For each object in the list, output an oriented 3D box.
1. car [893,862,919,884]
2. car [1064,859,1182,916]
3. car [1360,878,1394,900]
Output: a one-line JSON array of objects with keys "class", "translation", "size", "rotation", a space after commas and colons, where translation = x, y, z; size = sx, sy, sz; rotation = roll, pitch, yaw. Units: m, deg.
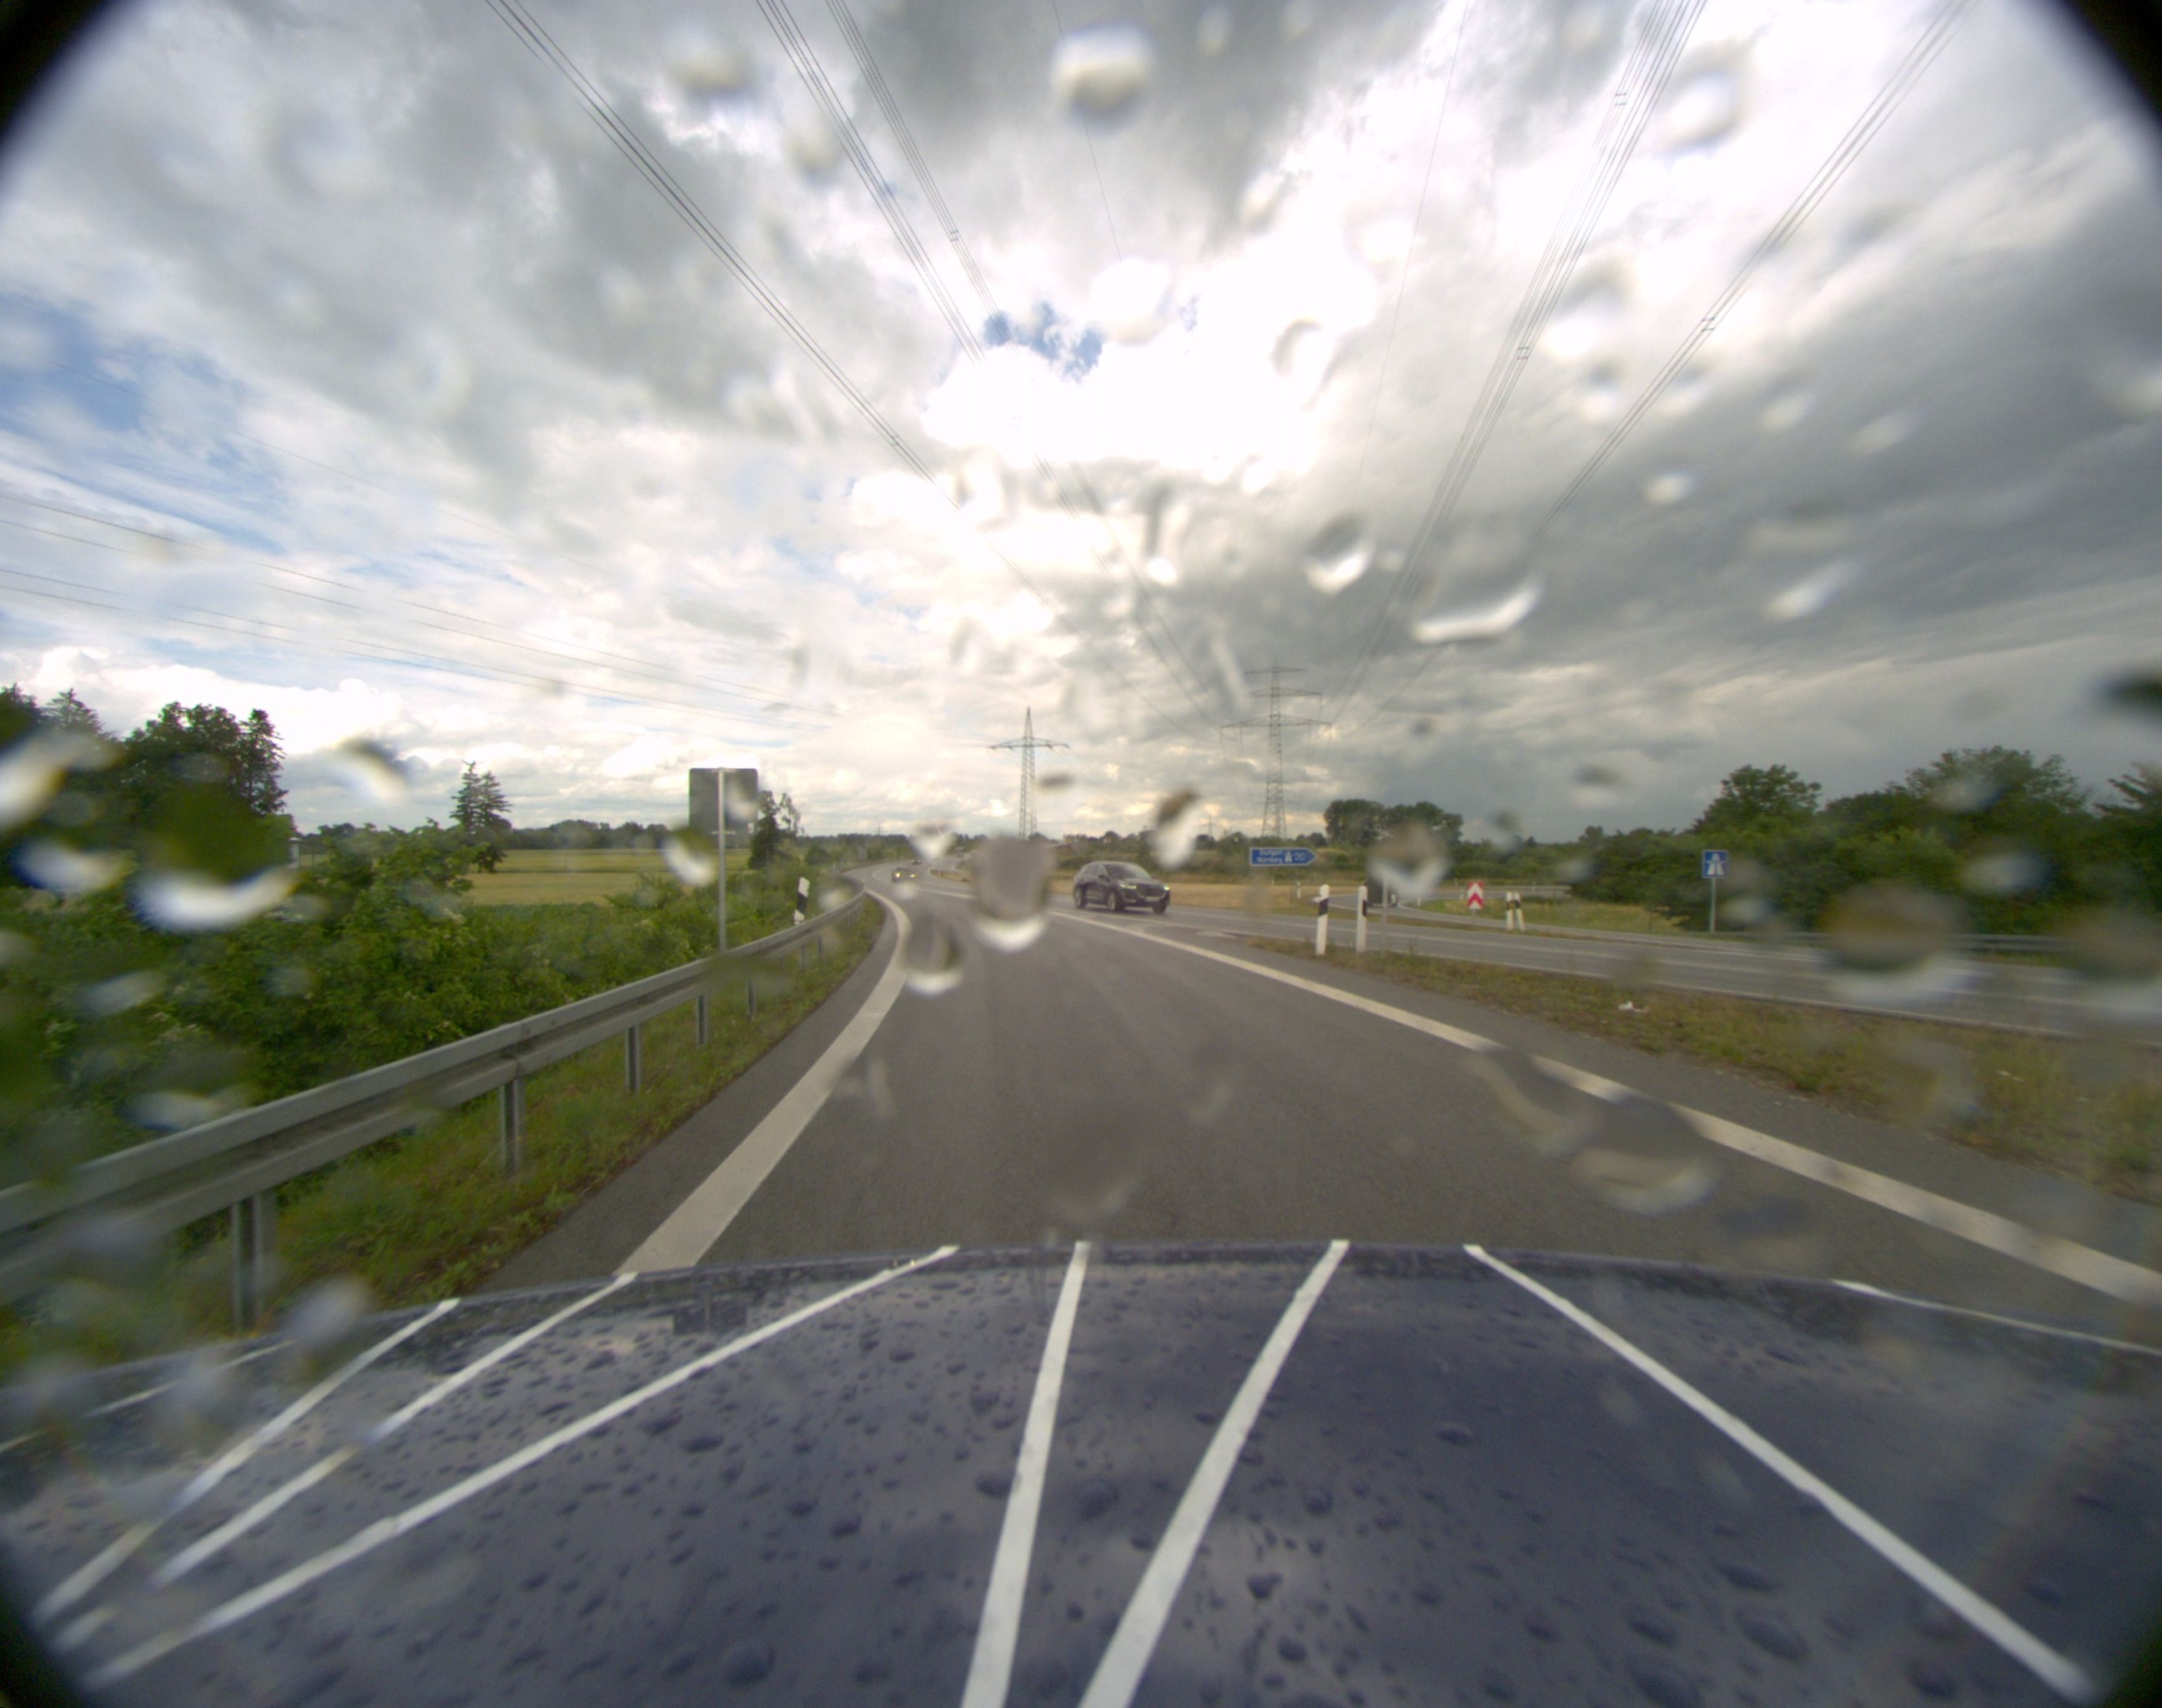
[{"class": "car", "translation": [-15.382, 1.631, 66.732], "size": [2.001, 1.742, 3.994], "rotation": [-1, 0, -16]}, {"class": "car", "translation": [1.288, 1.045, 25.665], "size": [2.003, 1.710, 4.584], "rotation": [0, 0, -26]}, {"class": "car", "translation": [21.313, 2.498, 54.621], "size": [1.737, 1.430, 3.781], "rotation": [2, 0, 29]}]
